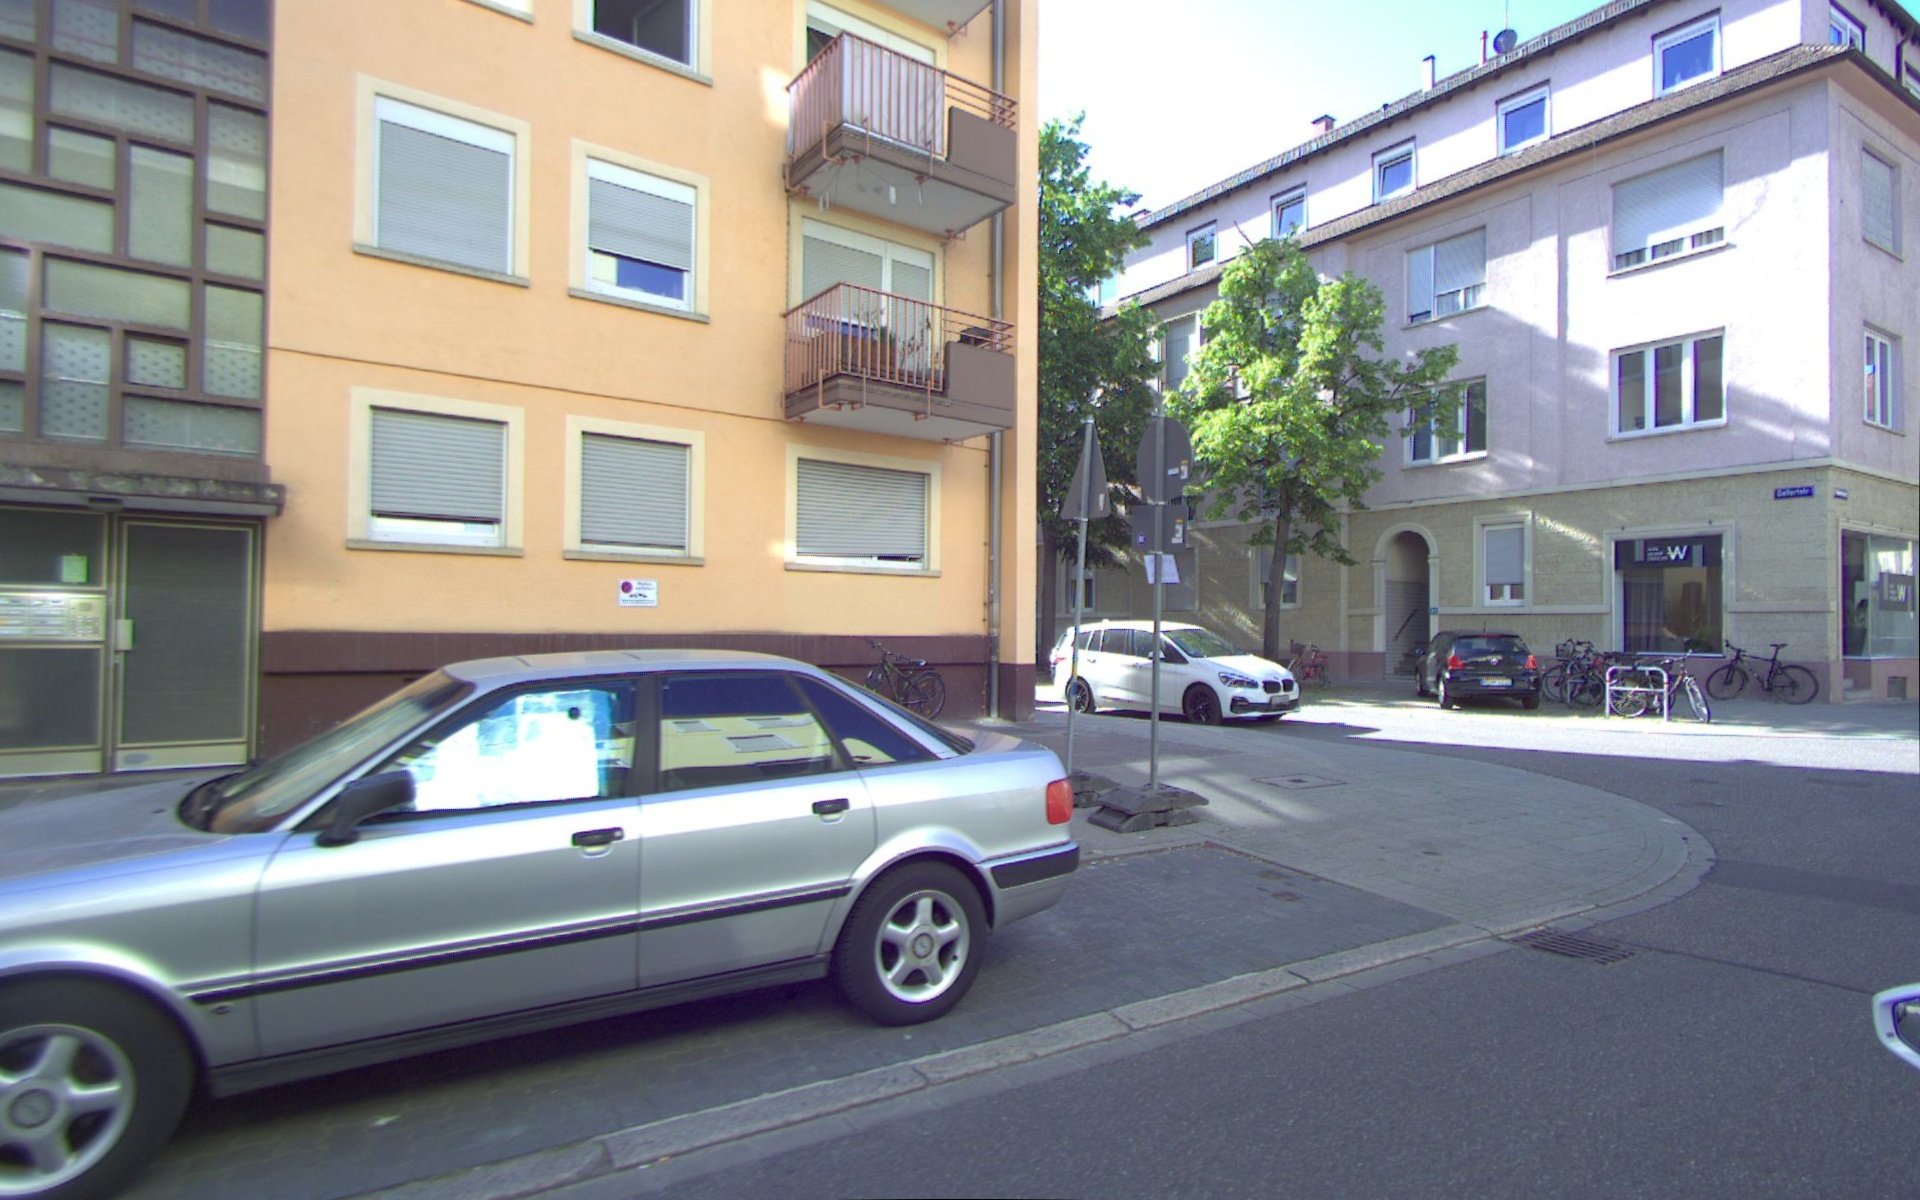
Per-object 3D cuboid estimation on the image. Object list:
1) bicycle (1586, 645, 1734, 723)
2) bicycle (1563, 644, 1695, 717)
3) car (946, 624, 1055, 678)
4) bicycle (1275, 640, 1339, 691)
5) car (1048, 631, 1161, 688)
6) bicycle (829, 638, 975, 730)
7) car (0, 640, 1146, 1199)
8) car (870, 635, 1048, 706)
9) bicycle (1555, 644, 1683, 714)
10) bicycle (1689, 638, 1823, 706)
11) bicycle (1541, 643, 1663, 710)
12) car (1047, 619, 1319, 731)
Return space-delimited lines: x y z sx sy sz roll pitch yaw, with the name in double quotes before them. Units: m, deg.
"bicycle" 11.450 1.340 16.503 0.640 1.150 1.890 -1 -1 -29
"bicycle" 11.649 1.375 17.557 0.519 1.150 1.890 -1 -1 -29
"car" 1.379 1.621 32.985 1.680 1.630 3.589 0 -1 42
"bicycle" 8.186 1.522 23.648 1.876 1.078 0.499 0 2 -39
"car" 4.087 1.588 27.848 1.674 1.445 4.207 -1 -2 30
"bicycle" -0.719 1.041 12.845 1.874 1.078 0.500 1 1 -35
"car" -1.537 0.876 3.972 4.426 1.396 1.754 1 -1 -30
"car" -0.125 1.452 21.783 1.711 1.327 4.168 1 -2 -37
"bicycle" 11.863 1.392 18.151 0.520 1.150 1.888 -1 -1 -32
"bicycle" 15.019 1.333 18.999 0.642 1.150 1.884 -1 0 -37
"bicycle" 12.055 1.412 18.926 0.520 1.150 1.888 -1 -1 -32
"car" 3.564 1.147 16.812 1.711 1.614 4.401 1 -2 -37
